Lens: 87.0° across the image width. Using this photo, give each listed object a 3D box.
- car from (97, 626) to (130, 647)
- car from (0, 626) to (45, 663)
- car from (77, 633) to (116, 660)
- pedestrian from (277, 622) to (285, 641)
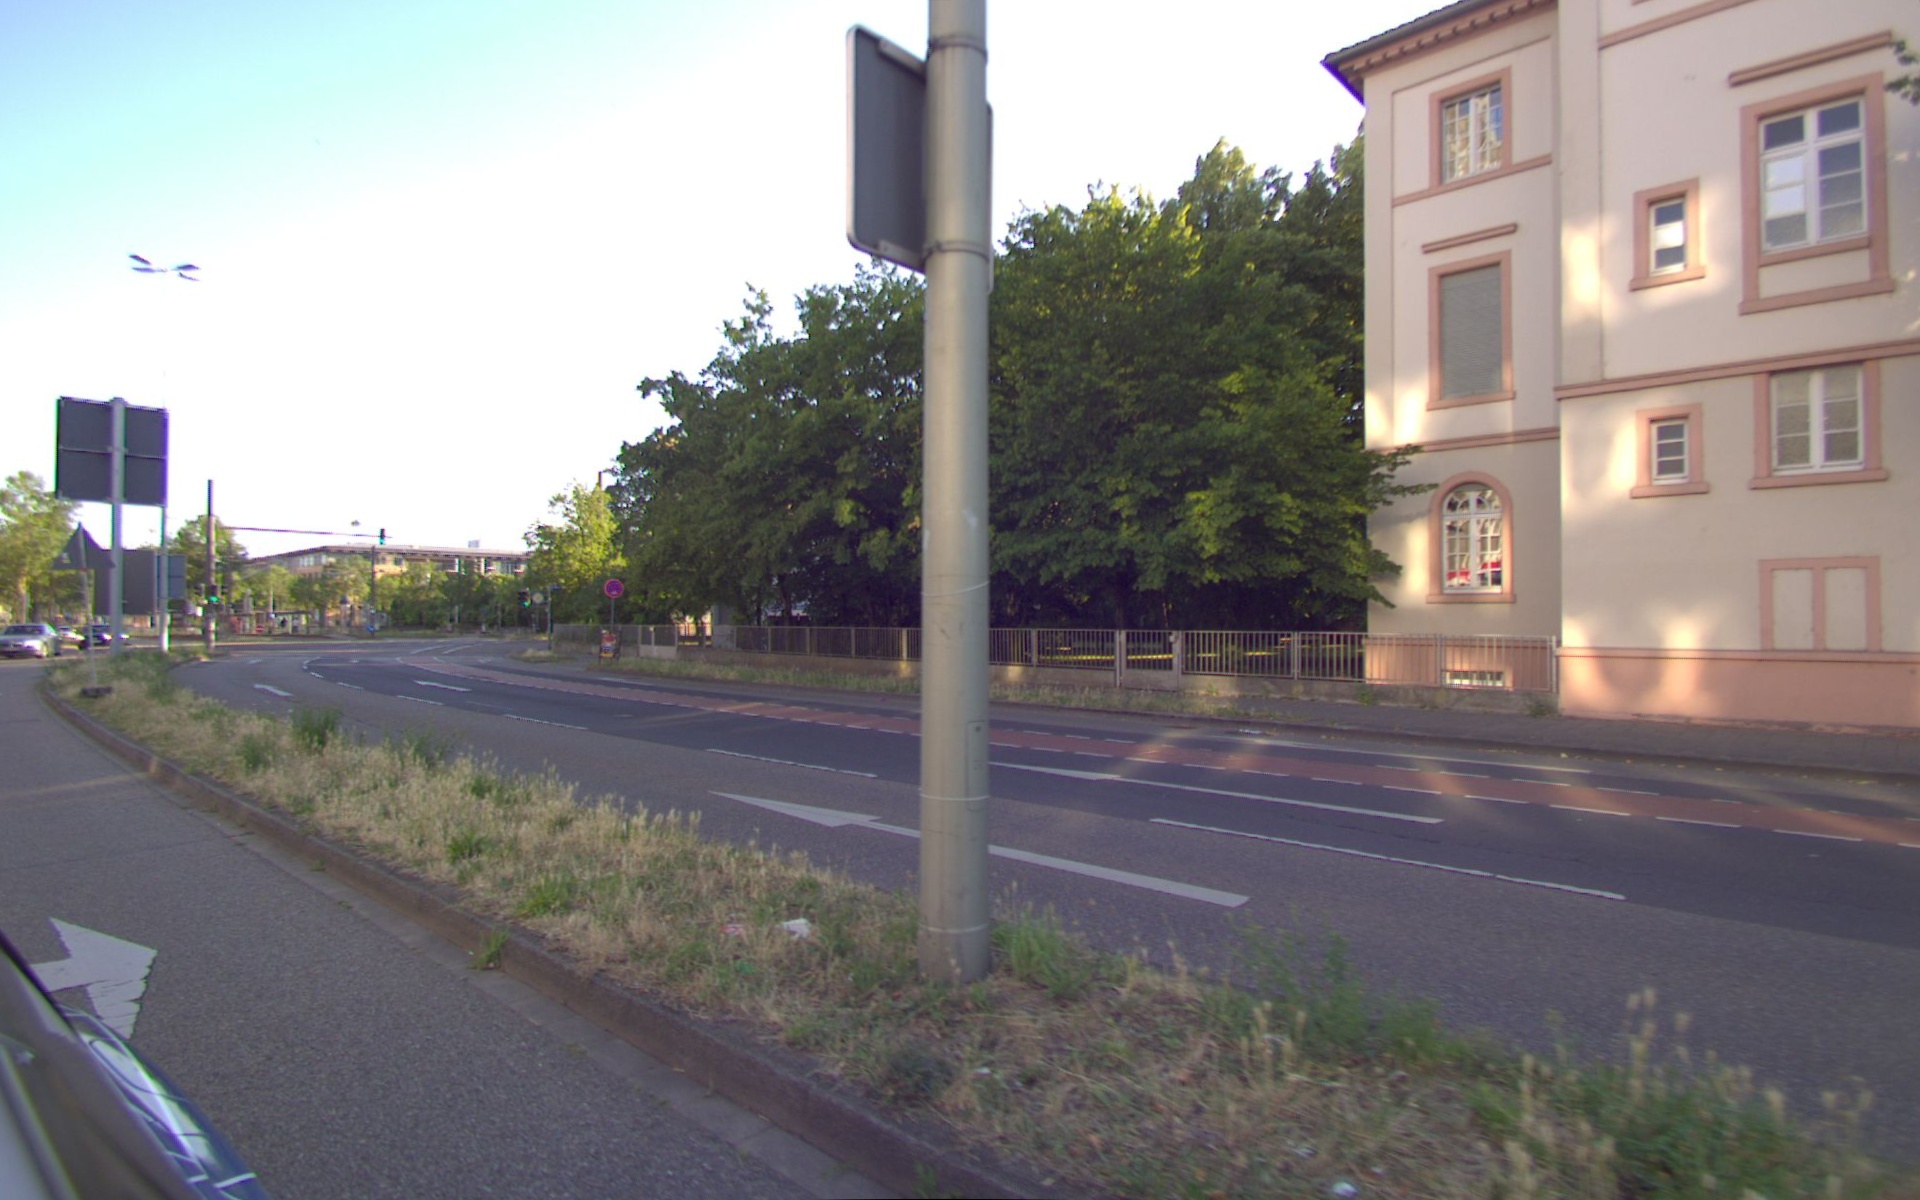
[{"bbox_3d":[-60.595,2.596,72.451,1.705,1.460,4.053,0,-1,-39],"label":"car"},{"bbox_3d":[-40.063,1.862,42.777,4.669,1.460,1.794,-2,-1,45],"label":"car"},{"bbox_3d":[-50.145,2.656,58.760,1.562,1.460,3.875,0,-1,-43],"label":"car"},{"bbox_3d":[-73.475,3.431,109.571,0.664,2.029,0.549,-2,-2,42],"label":"pedestrian"}]
